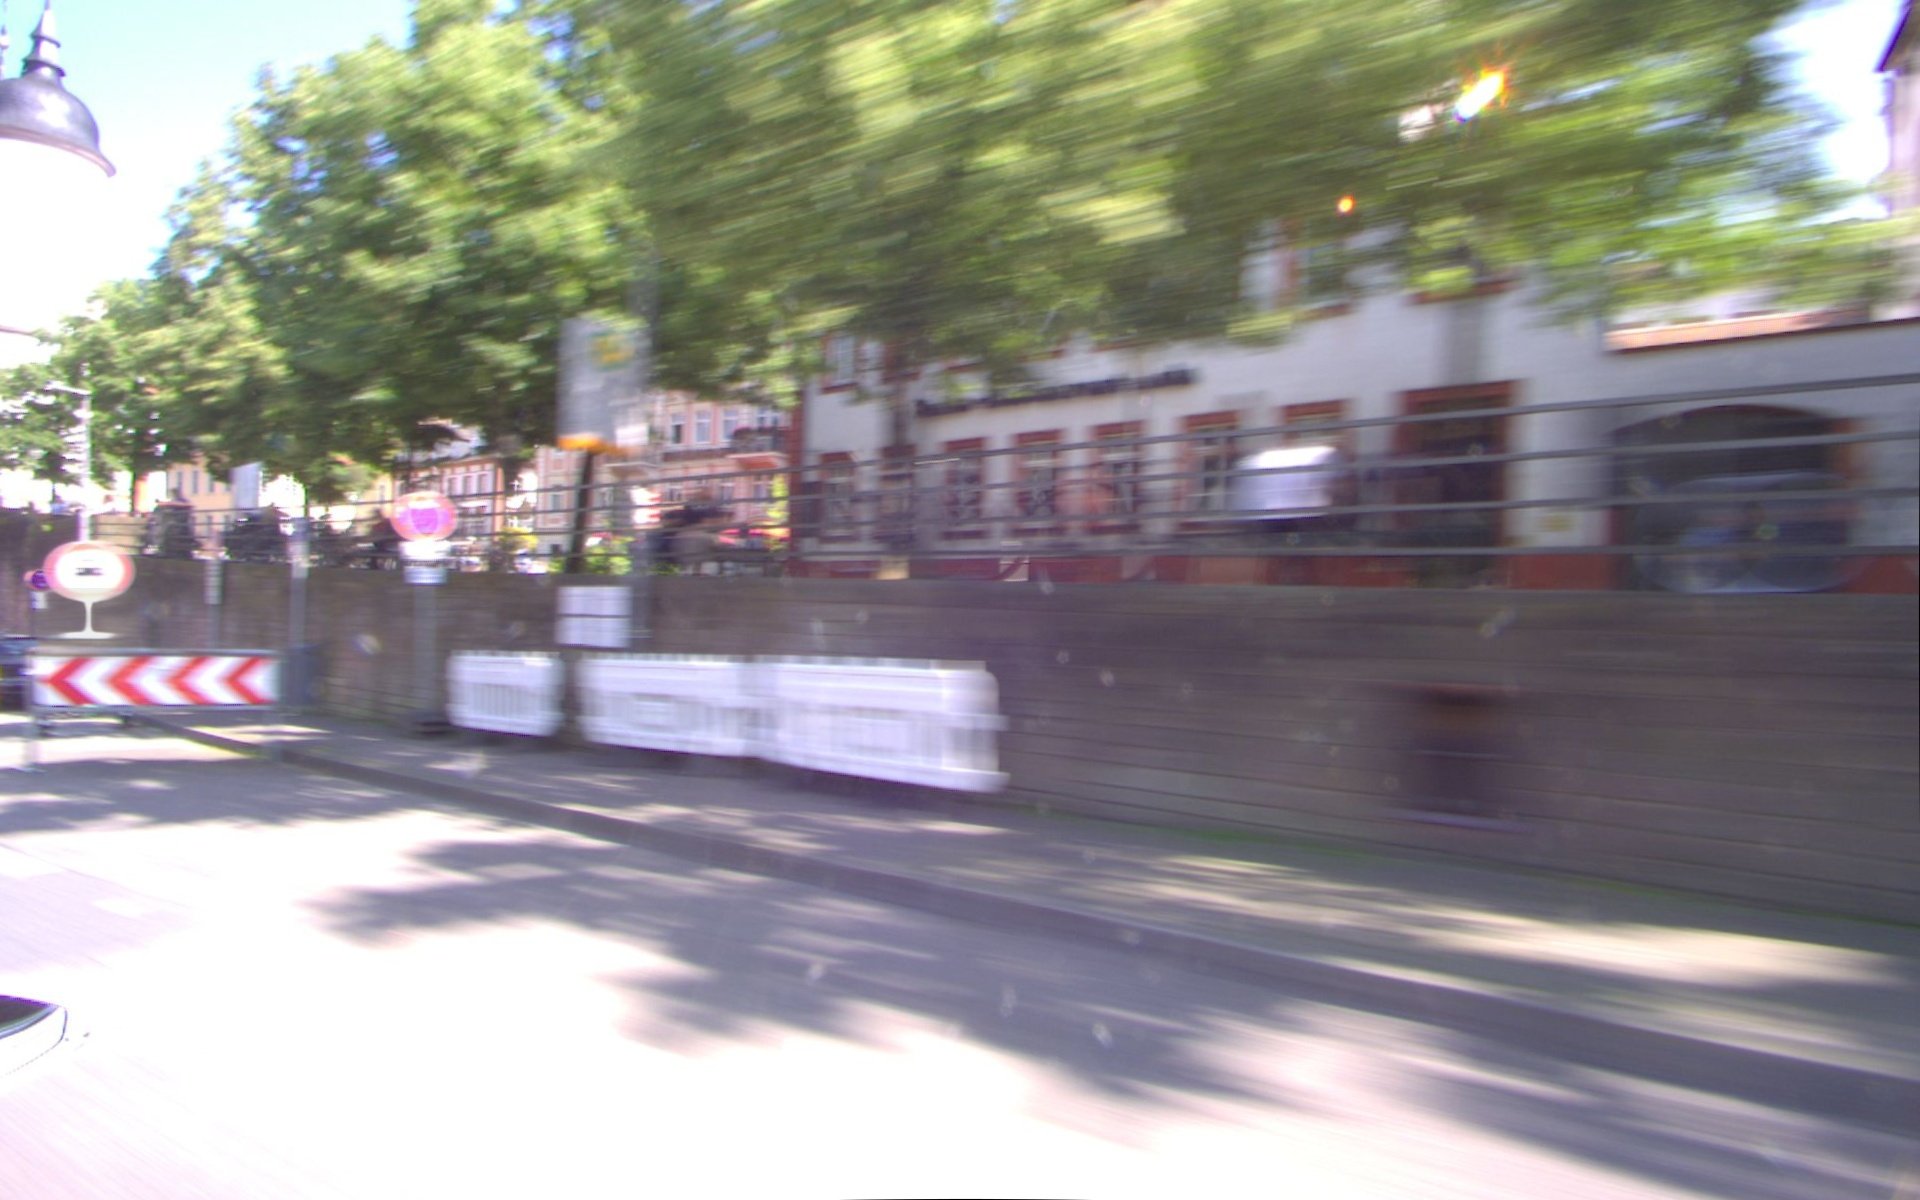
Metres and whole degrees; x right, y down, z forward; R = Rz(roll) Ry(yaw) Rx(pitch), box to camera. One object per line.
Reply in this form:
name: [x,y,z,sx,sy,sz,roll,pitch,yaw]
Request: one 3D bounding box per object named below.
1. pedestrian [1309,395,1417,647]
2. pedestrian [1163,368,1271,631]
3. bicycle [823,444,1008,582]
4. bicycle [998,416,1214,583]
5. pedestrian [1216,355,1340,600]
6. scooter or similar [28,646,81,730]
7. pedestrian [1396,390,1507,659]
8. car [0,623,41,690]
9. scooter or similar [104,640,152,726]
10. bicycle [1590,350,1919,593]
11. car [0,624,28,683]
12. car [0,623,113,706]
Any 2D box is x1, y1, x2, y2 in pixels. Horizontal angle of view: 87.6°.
pedestrian: [2.986,-0.538,7.403,0.566,1.743,0.716,0,0,37]
pedestrian: [2.300,-0.841,8.944,0.702,2.217,0.716,0,0,37]
bicycle: [-0.425,-0.735,8.969,1.708,1.120,0.409,0,0,30]
bicycle: [1.077,-0.713,7.721,1.715,1.120,0.408,0,0,42]
pedestrian: [2.447,-0.878,7.697,0.702,1.743,0.716,0,0,37]
scooter or similar: [-12.812,1.217,14.161,0.528,1.104,1.425,1,-1,-43]
pedestrian: [3.419,-0.478,6.952,0.566,1.743,0.716,0,0,37]
car: [-22.206,1.242,22.624,3.856,1.431,1.605,-1,-2,40]
scooter or similar: [-12.774,1.251,15.386,0.527,1.246,1.261,1,-1,-39]
bicycle: [4.307,-0.612,5.196,1.715,1.120,0.408,0,-1,42]
car: [-25.863,1.345,25.881,4.694,1.451,1.748,-1,-2,37]
car: [-18.479,1.203,19.730,4.477,1.468,1.837,-1,-2,38]
